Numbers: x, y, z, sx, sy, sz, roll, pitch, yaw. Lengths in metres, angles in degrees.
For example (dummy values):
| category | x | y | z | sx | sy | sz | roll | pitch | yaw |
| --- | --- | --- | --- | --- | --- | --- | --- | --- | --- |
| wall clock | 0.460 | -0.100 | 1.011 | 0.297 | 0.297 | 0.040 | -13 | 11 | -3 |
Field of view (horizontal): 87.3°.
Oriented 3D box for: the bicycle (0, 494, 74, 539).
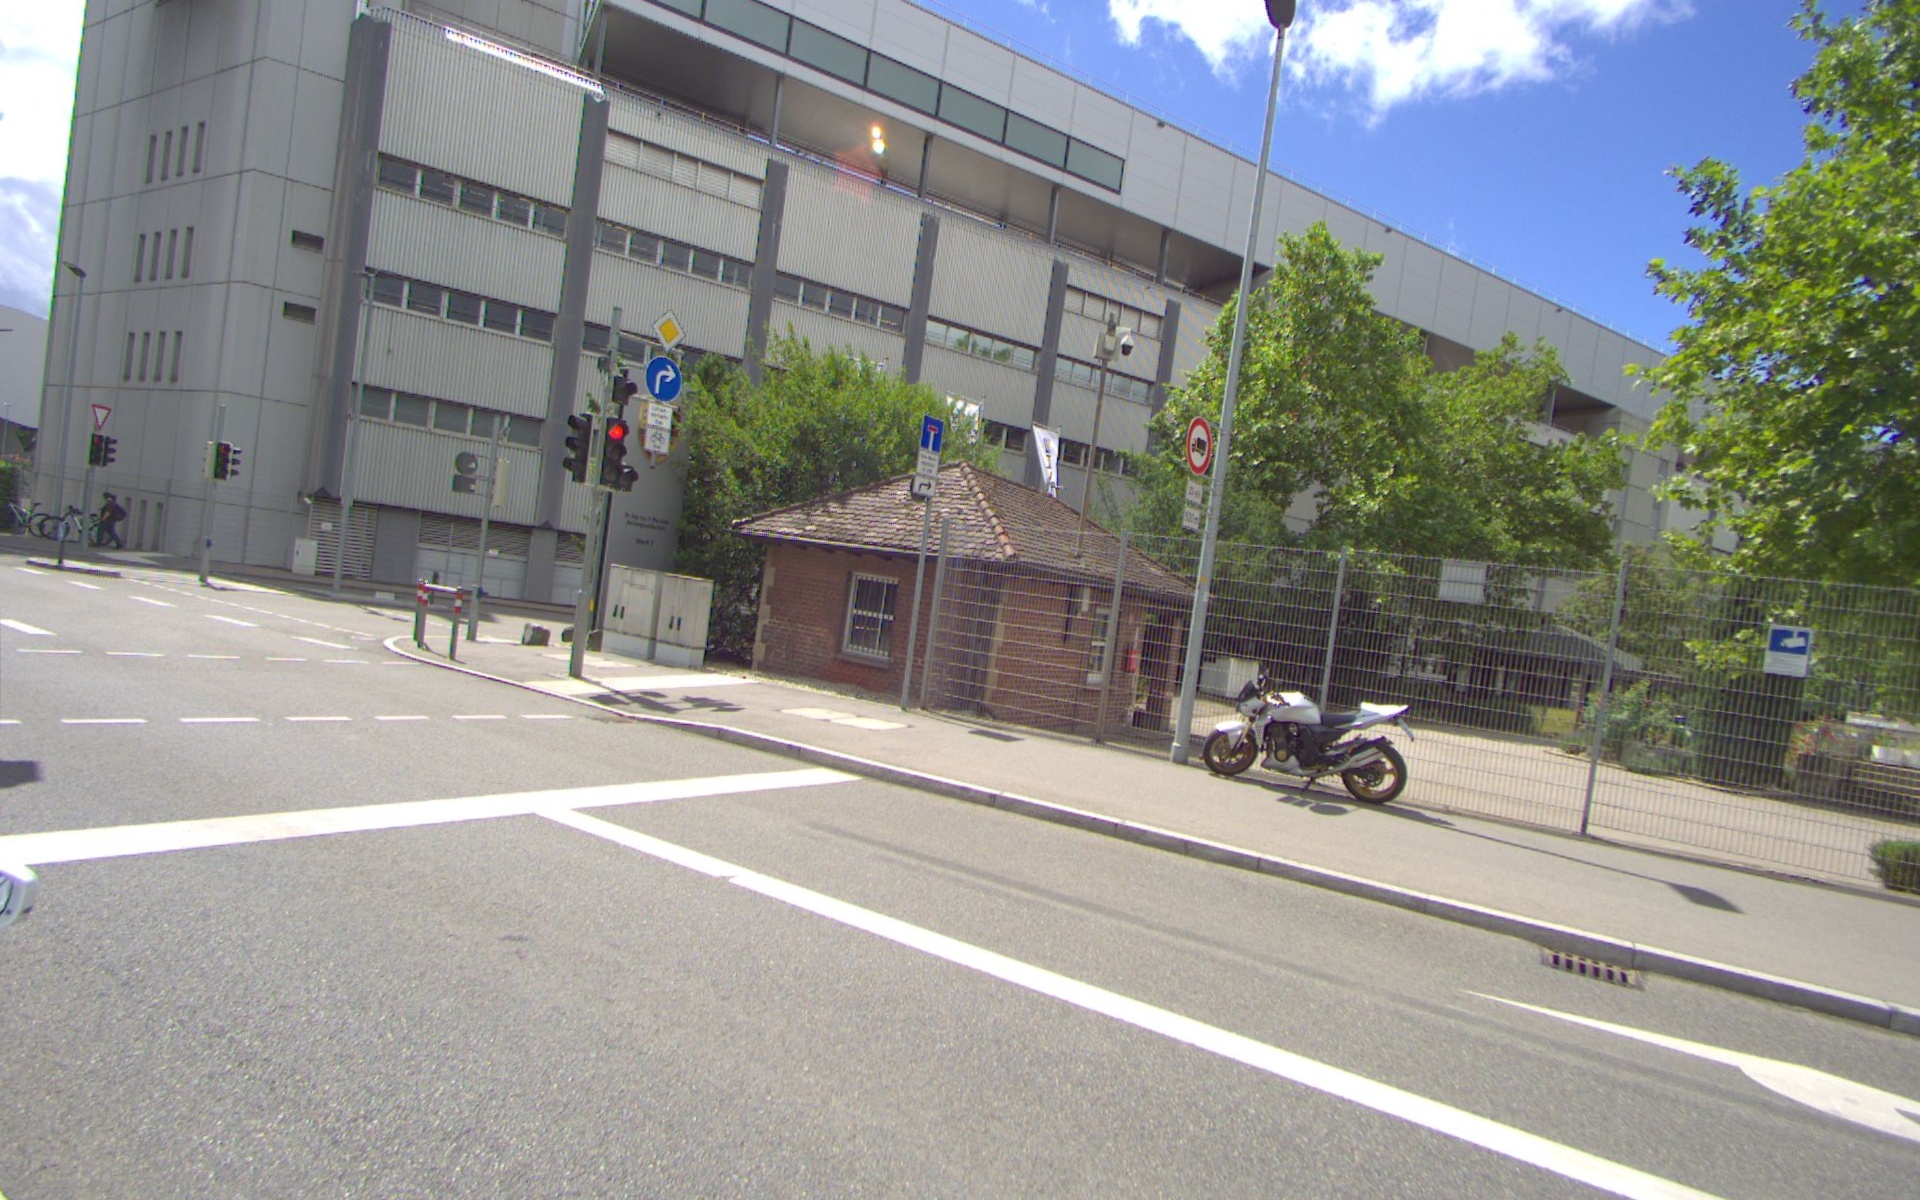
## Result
| category | x | y | z | sx | sy | sz | roll | pitch | yaw |
| --- | --- | --- | --- | --- | --- | --- | --- | --- | --- |
| bicycle | -29.295 | -2.641 | 31.494 | 2.197 | 1.099 | 0.474 | 8 | -1 | -23 |

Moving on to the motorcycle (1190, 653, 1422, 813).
| category | x | y | z | sx | sy | sz | roll | pitch | yaw |
| --- | --- | --- | --- | --- | --- | --- | --- | --- | --- |
| motorcycle | 3.418 | 1.263 | 10.030 | 1.980 | 1.239 | 0.687 | 6 | 2 | 32 |

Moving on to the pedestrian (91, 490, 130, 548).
| category | x | y | z | sx | sy | sz | roll | pitch | yaw |
| --- | --- | --- | --- | --- | --- | --- | --- | --- | --- |
| pedestrian | -25.707 | -2.444 | 30.460 | 0.651 | 1.659 | 0.531 | 8 | -1 | -30 |

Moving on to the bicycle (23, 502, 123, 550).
| category | x | y | z | sx | sy | sz | roll | pitch | yaw |
| --- | --- | --- | --- | --- | --- | --- | --- | --- | --- |
| bicycle | -27.239 | -2.249 | 30.943 | 2.166 | 1.099 | 0.474 | 8 | -1 | -23 |

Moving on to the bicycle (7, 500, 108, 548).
| category | x | y | z | sx | sy | sz | roll | pitch | yaw |
| --- | --- | --- | --- | --- | --- | --- | --- | --- | --- |
| bicycle | -27.960 | -2.335 | 31.209 | 2.197 | 1.099 | 0.474 | 8 | -1 | -23 |
